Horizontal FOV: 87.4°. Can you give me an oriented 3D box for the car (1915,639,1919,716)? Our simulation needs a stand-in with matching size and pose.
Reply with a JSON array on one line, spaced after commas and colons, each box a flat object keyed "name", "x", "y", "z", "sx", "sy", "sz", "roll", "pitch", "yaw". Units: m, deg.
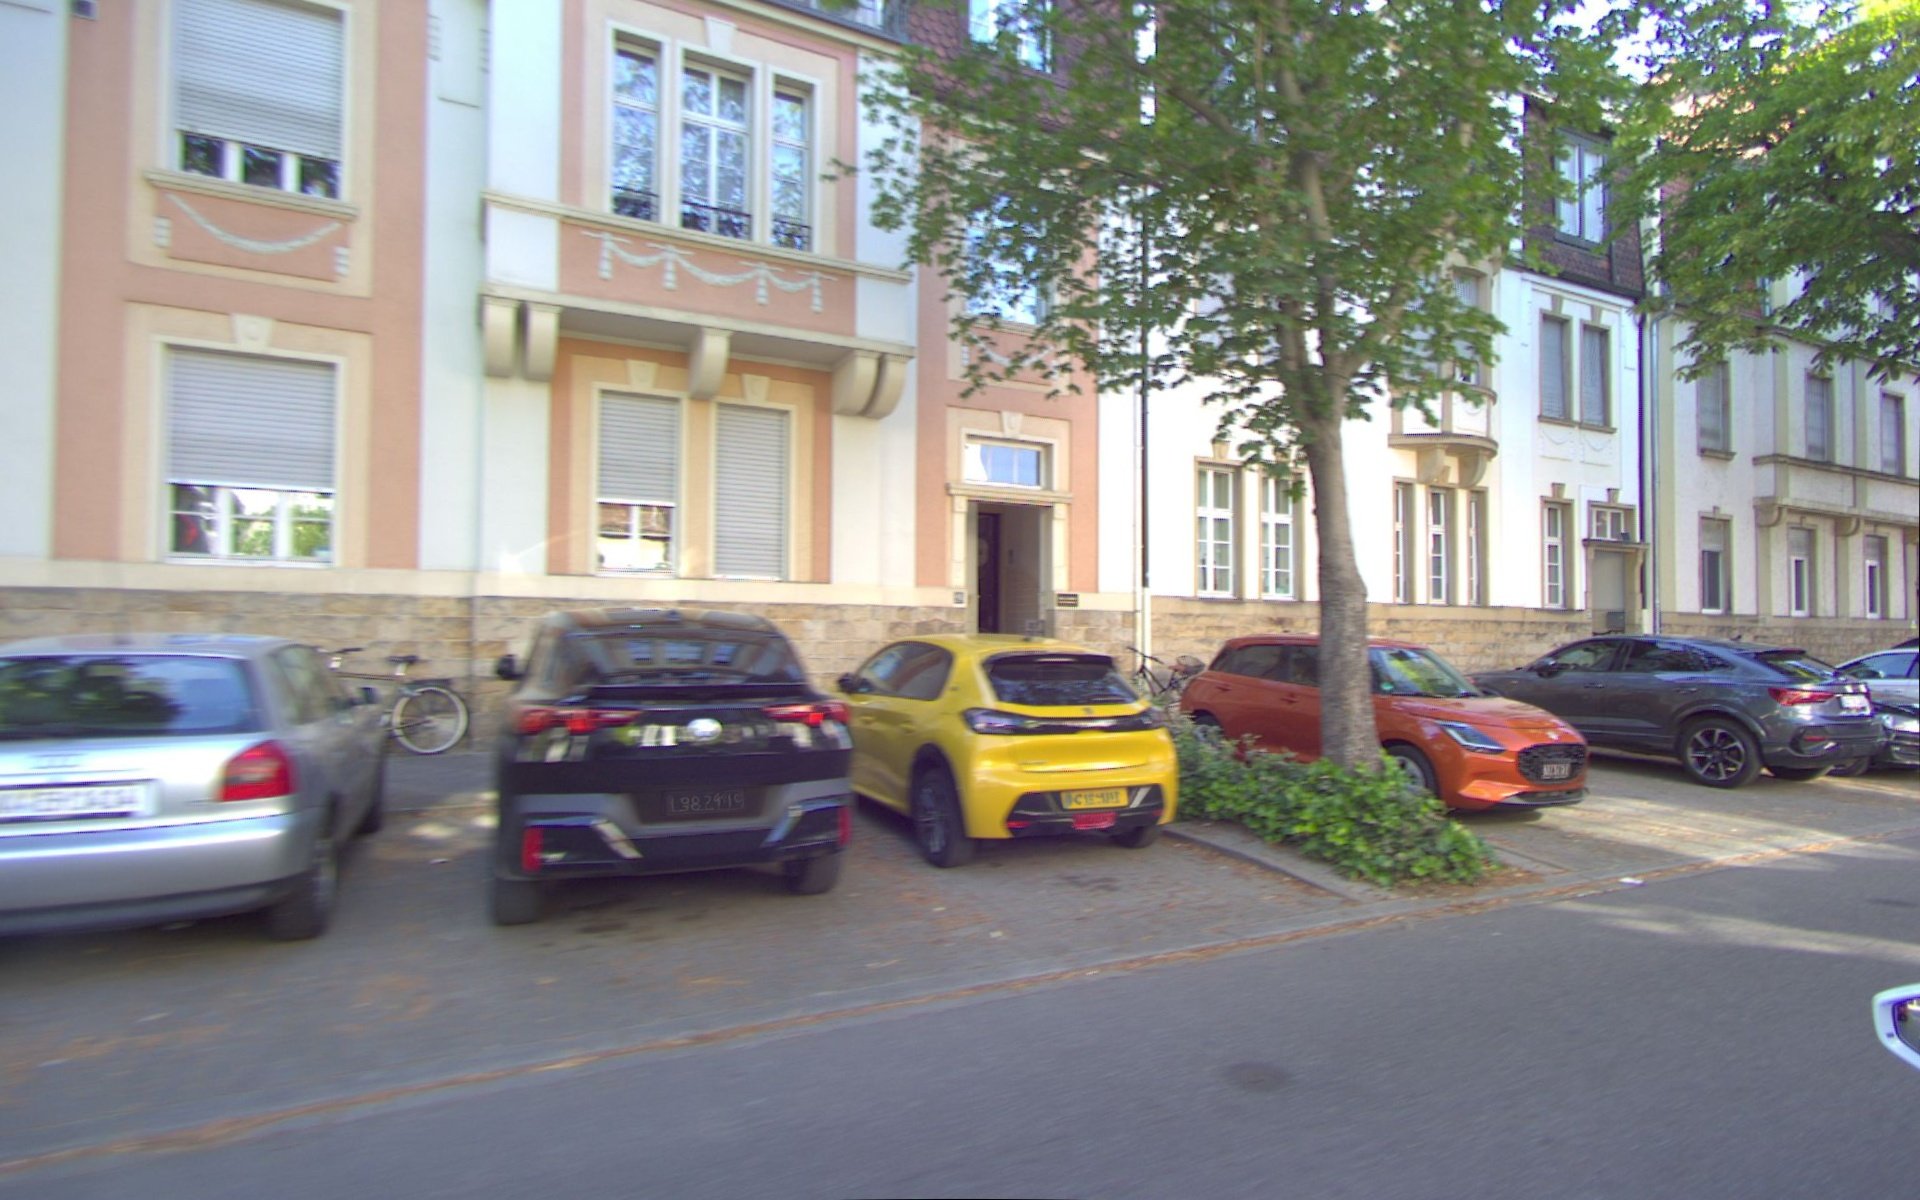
[{"name": "car", "x": 20.820, "y": 1.524, "z": 18.381, "sx": 1.868, "sy": 1.523, "sz": 4.514, "roll": 2, "pitch": -2, "yaw": -28}]

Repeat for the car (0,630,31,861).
[{"name": "car", "x": -6.402, "y": 0.868, "z": 4.805, "sx": 1.699, "sy": 1.527, "sz": 3.975, "roll": 2, "pitch": -3, "yaw": -25}]

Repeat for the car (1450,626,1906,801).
[{"name": "car", "x": 8.128, "y": 1.148, "z": 11.785, "sx": 1.836, "sy": 1.613, "sz": 3.972, "roll": 2, "pitch": -1, "yaw": -27}]

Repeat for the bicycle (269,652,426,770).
[{"name": "bicycle", "x": -5.904, "y": 1.049, "z": 9.742, "sx": 1.239, "sy": 1.079, "sz": 0.431, "roll": 2, "pitch": -2, "yaw": -28}]

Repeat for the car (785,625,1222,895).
[{"name": "car", "x": 0.056, "y": 0.977, "z": 7.825, "sx": 1.839, "sy": 1.481, "sz": 3.778, "roll": 2, "pitch": -1, "yaw": -26}]

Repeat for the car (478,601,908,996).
[{"name": "car", "x": -1.942, "y": 0.841, "z": 6.244, "sx": 1.839, "sy": 1.587, "sz": 3.974, "roll": 2, "pitch": -1, "yaw": -25}]

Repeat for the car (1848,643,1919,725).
[{"name": "car", "x": 18.510, "y": 1.533, "z": 17.682, "sx": 1.807, "sy": 1.456, "sz": 3.962, "roll": 2, "pitch": -2, "yaw": -29}]

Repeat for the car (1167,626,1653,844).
[{"name": "car", "x": 3.889, "y": 1.048, "z": 9.415, "sx": 1.725, "sy": 1.534, "sz": 3.973, "roll": 2, "pitch": -2, "yaw": -27}]

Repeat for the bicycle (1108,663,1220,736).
[{"name": "bicycle", "x": 2.889, "y": 1.394, "z": 14.192, "sx": 1.478, "sy": 0.944, "sz": 0.623, "roll": 2, "pitch": 0, "yaw": -29}]

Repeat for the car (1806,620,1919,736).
[{"name": "car", "x": 16.567, "y": 1.280, "z": 16.305, "sx": 1.806, "sy": 1.880, "sz": 3.964, "roll": 2, "pitch": -2, "yaw": -28}]

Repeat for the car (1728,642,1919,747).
[{"name": "car", "x": 14.419, "y": 1.425, "z": 15.319, "sx": 1.722, "sy": 1.467, "sz": 3.967, "roll": 2, "pitch": -2, "yaw": -31}]

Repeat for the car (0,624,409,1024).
[{"name": "car", "x": -4.280, "y": 0.895, "z": 5.647, "sx": 1.806, "sy": 1.422, "sz": 3.974, "roll": 2, "pitch": -1, "yaw": -25}]

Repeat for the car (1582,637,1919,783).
[{"name": "car", "x": 10.437, "y": 1.264, "z": 12.860, "sx": 1.832, "sy": 1.465, "sz": 3.895, "roll": 1, "pitch": -1, "yaw": -22}]
